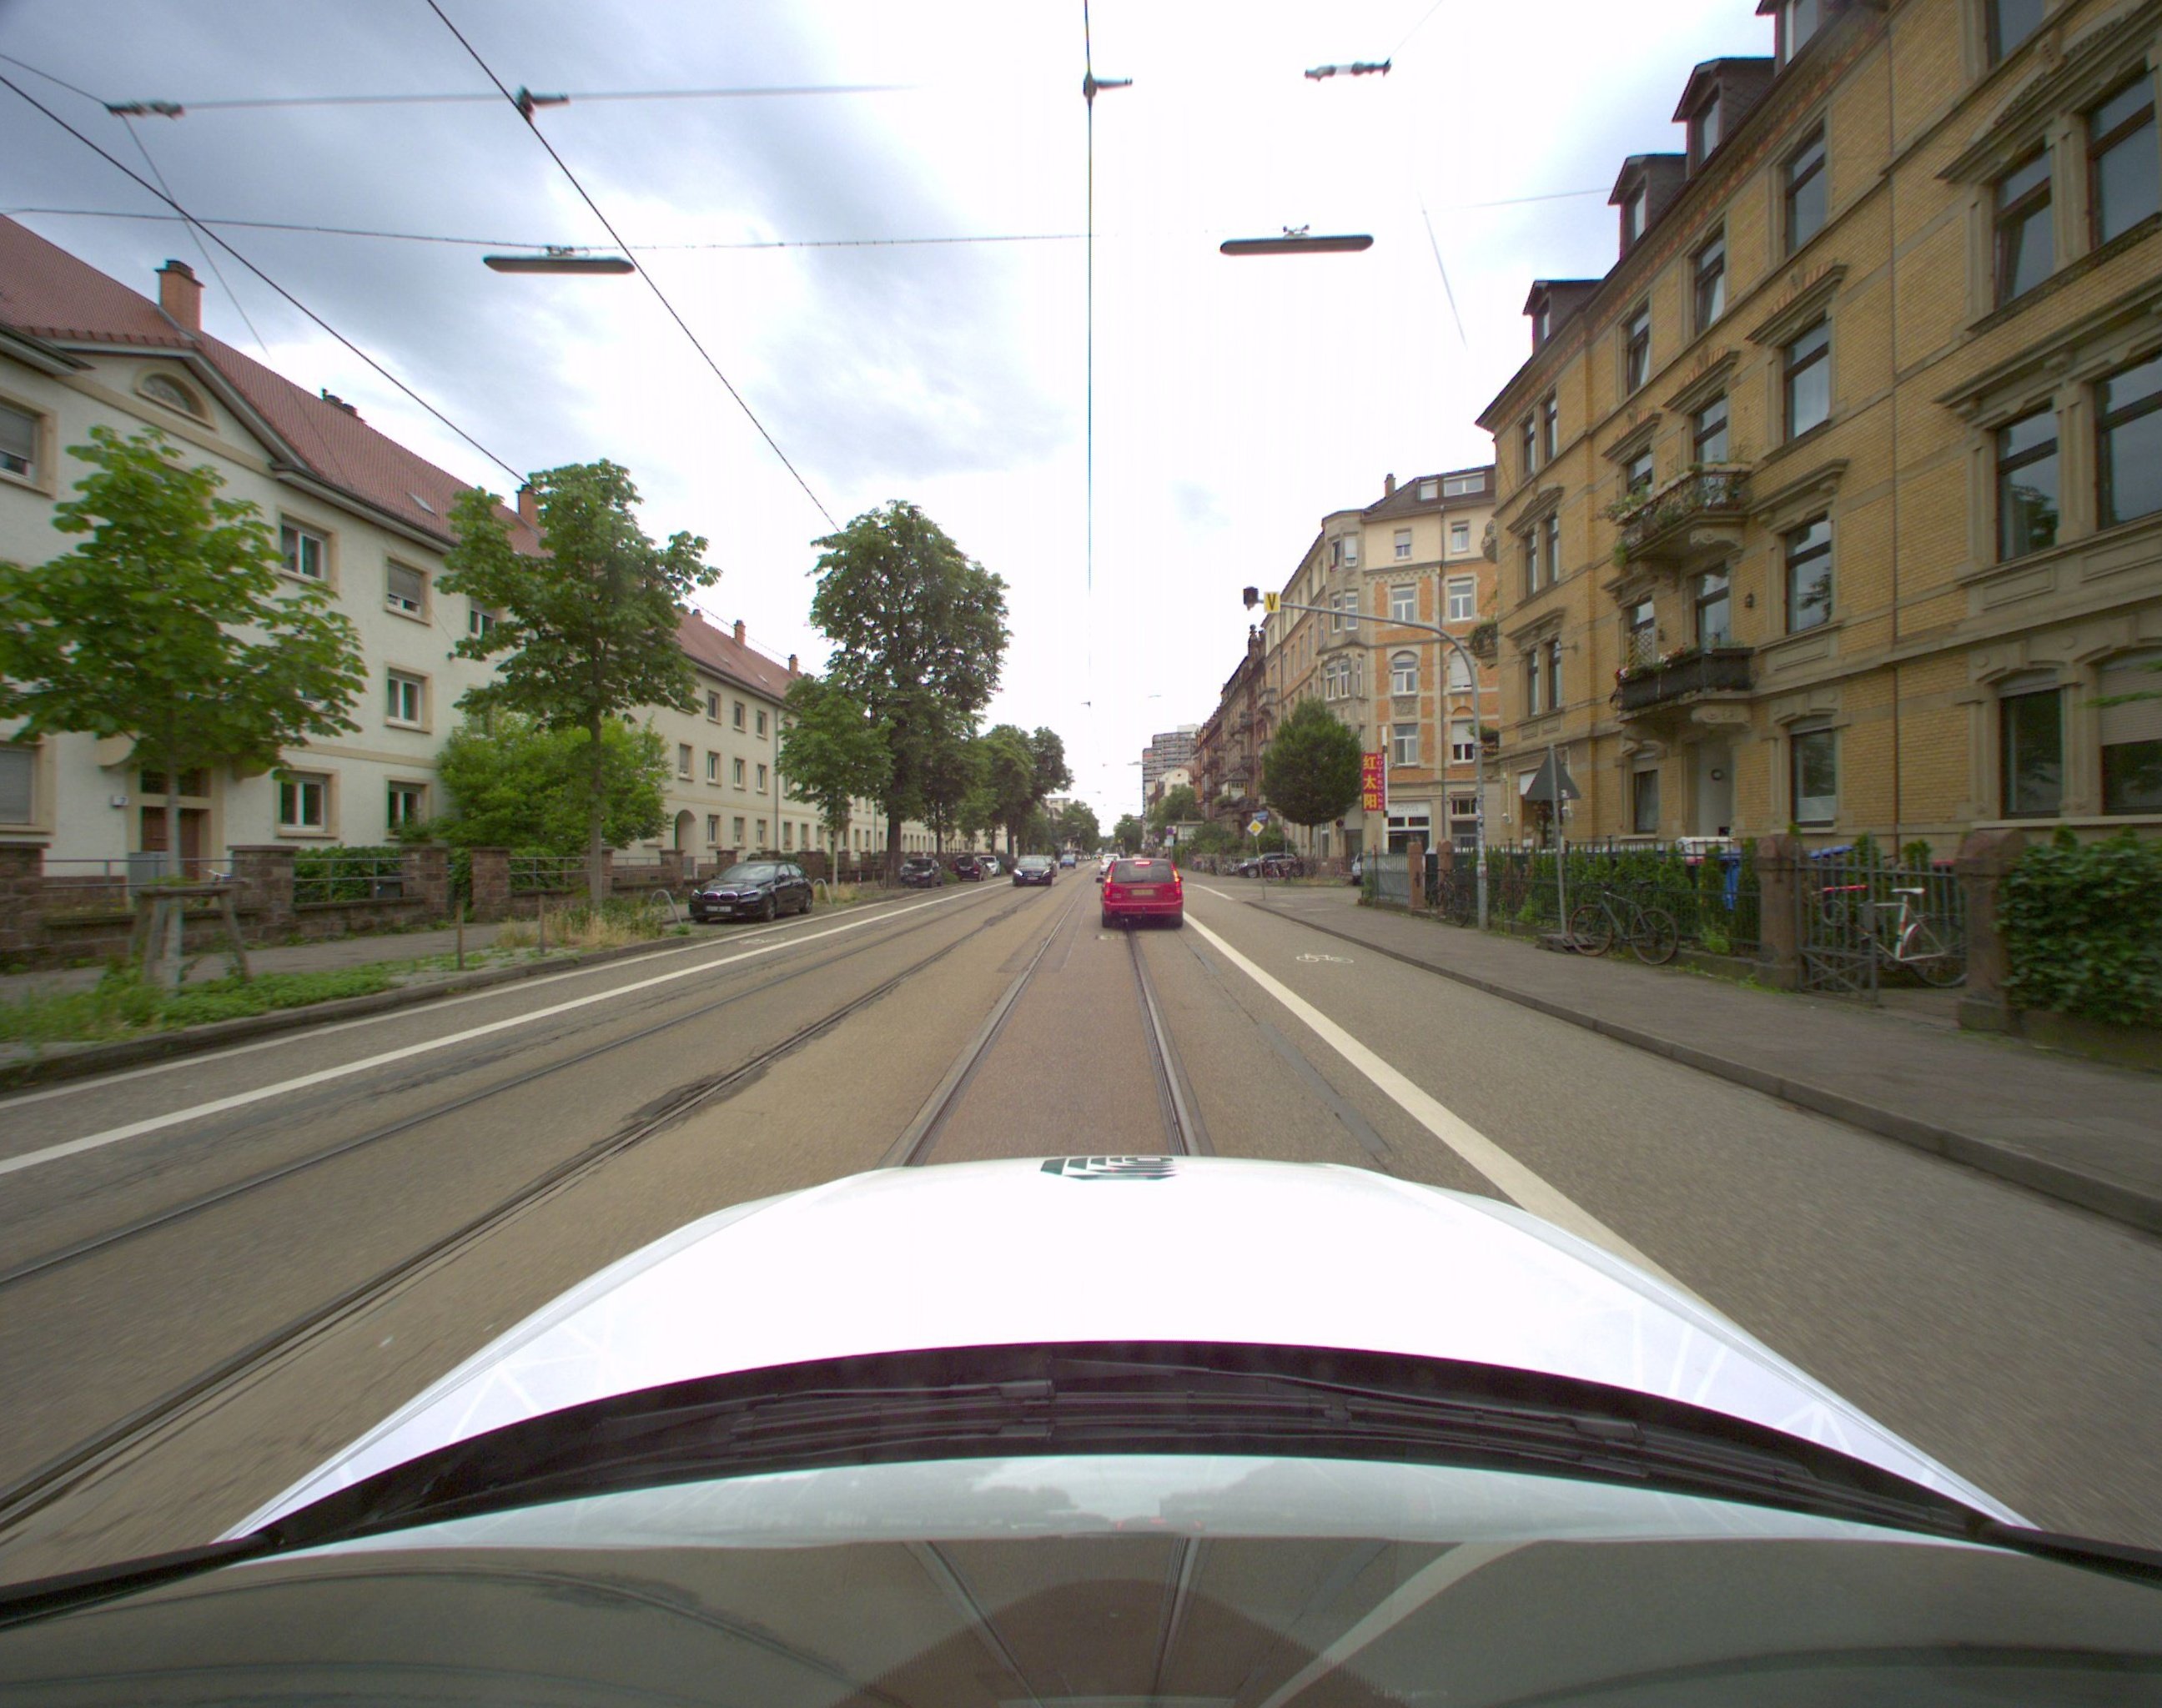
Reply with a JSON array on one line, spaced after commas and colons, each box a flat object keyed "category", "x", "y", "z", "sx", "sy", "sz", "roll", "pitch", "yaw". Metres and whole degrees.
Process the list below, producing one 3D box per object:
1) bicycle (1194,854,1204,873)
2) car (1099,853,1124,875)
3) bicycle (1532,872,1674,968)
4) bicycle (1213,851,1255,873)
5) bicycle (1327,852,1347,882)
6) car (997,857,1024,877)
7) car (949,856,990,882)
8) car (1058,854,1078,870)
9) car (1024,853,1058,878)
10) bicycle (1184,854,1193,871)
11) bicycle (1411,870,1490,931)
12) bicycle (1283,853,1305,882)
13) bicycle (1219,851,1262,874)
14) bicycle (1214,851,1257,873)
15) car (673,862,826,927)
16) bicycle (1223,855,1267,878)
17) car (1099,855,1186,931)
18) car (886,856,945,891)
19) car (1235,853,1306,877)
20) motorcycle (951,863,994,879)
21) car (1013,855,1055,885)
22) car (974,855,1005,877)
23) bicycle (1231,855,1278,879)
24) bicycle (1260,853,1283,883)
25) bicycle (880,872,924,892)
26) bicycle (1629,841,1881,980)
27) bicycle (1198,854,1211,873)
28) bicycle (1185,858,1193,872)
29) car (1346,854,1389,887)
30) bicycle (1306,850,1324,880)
[{"category": "bicycle", "x": 8.814, "y": 0.722, "z": 60.959, "sx": 0.549, "sy": 1.400, "sz": 1.735, "roll": 0, "pitch": 0, "yaw": 2}, {"category": "car", "x": 2.317, "y": 0.730, "z": 60.630, "sx": 1.711, "sy": 1.625, "sz": 3.945, "roll": 0, "pitch": 0, "yaw": 4}, {"category": "bicycle", "x": 6.914, "y": 0.821, "z": 10.939, "sx": 0.521, "sy": 1.099, "sz": 2.177, "roll": -2, "pitch": 0, "yaw": 2}, {"category": "bicycle", "x": 11.555, "y": 0.615, "z": 61.584, "sx": 2.966, "sy": 1.624, "sz": 1.049, "roll": 0, "pitch": 0, "yaw": -1}, {"category": "bicycle", "x": 13.248, "y": 0.639, "z": 42.063, "sx": 0.910, "sy": 1.507, "sz": 2.392, "roll": 0, "pitch": 0, "yaw": 19}, {"category": "car", "x": -5.732, "y": 1.042, "z": 66.288, "sx": 1.713, "sy": 1.486, "sz": 4.002, "roll": 0, "pitch": 0, "yaw": 2}, {"category": "car", "x": -6.860, "y": 0.885, "z": 50.461, "sx": 1.844, "sy": 1.563, "sz": 3.944, "roll": 0, "pitch": 0, "yaw": 2}, {"category": "car", "x": -1.419, "y": 0.856, "z": 88.409, "sx": 1.886, "sy": 1.611, "sz": 4.502, "roll": 0, "pitch": 0, "yaw": 2}, {"category": "car", "x": -2.654, "y": 0.765, "z": 54.822, "sx": 1.887, "sy": 1.611, "sz": 4.502, "roll": 0, "pitch": 0, "yaw": 2}, {"category": "bicycle", "x": 9.297, "y": 0.734, "z": 70.789, "sx": 0.553, "sy": 1.458, "sz": 2.987, "roll": 0, "pitch": 0, "yaw": 3}, {"category": "bicycle", "x": 7.083, "y": 0.859, "z": 15.721, "sx": 0.521, "sy": 1.030, "sz": 2.177, "roll": -3, "pitch": 0, "yaw": 2}, {"category": "bicycle", "x": 11.259, "y": 0.678, "z": 42.988, "sx": 0.910, "sy": 1.507, "sz": 2.392, "roll": 0, "pitch": 0, "yaw": 19}, {"category": "bicycle", "x": 11.601, "y": 0.616, "z": 59.205, "sx": 2.966, "sy": 1.624, "sz": 1.049, "roll": 0, "pitch": 0, "yaw": -1}, {"category": "bicycle", "x": 11.461, "y": 0.615, "z": 60.413, "sx": 2.966, "sy": 1.624, "sz": 1.049, "roll": 0, "pitch": 0, "yaw": -1}, {"category": "car", "x": -8.175, "y": 0.936, "z": 20.594, "sx": 1.882, "sy": 1.398, "sz": 4.420, "roll": 0, "pitch": 0, "yaw": 3}, {"category": "bicycle", "x": 11.613, "y": 0.869, "z": 57.762, "sx": 2.966, "sy": 1.624, "sz": 1.049, "roll": 0, "pitch": 0, "yaw": -1}, {"category": "car", "x": 1.249, "y": 0.760, "z": 17.674, "sx": 1.683, "sy": 1.441, "sz": 3.744, "roll": -1, "pitch": 0, "yaw": 2}, {"category": "car", "x": -7.536, "y": 0.852, "z": 37.440, "sx": 1.710, "sy": 1.482, "sz": 4.003, "roll": 0, "pitch": 0, "yaw": 3}, {"category": "car", "x": 11.028, "y": 0.623, "z": 47.477, "sx": 3.960, "sy": 1.361, "sz": 1.898, "roll": 0, "pitch": 0, "yaw": 12}, {"category": "motorcycle", "x": -7.517, "y": 1.178, "z": 56.645, "sx": 2.865, "sy": 1.077, "sz": 1.098, "roll": 0, "pitch": 0, "yaw": -5}, {"category": "car", "x": -2.261, "y": 0.733, "z": 40.068, "sx": 1.749, "sy": 1.380, "sz": 4.027, "roll": 0, "pitch": 0, "yaw": 1}, {"category": "car", "x": -6.913, "y": 0.911, "z": 61.738, "sx": 1.707, "sy": 1.580, "sz": 4.002, "roll": 1, "pitch": 0, "yaw": 2}, {"category": "bicycle", "x": 11.647, "y": 0.850, "z": 54.759, "sx": 2.966, "sy": 1.624, "sz": 1.049, "roll": 0, "pitch": 0, "yaw": -1}, {"category": "bicycle", "x": 9.768, "y": 0.679, "z": 41.674, "sx": 0.910, "sy": 1.507, "sz": 2.392, "roll": 0, "pitch": 0, "yaw": 19}, {"category": "bicycle", "x": -7.823, "y": 1.214, "z": 35.544, "sx": 1.741, "sy": 0.844, "sz": 0.684, "roll": 0, "pitch": 0, "yaw": 2}, {"category": "bicycle", "x": 8.773, "y": 0.654, "z": 10.873, "sx": 0.987, "sy": 1.603, "sz": 2.965, "roll": 0, "pitch": 0, "yaw": 2}, {"category": "bicycle", "x": 8.637, "y": 0.630, "z": 57.134, "sx": 0.705, "sy": 1.300, "sz": 1.905, "roll": 0, "pitch": 0, "yaw": 2}, {"category": "bicycle", "x": 8.903, "y": 0.890, "z": 67.050, "sx": 0.488, "sy": 1.099, "sz": 1.735, "roll": 0, "pitch": 0, "yaw": 2}, {"category": "car", "x": 14.044, "y": 0.769, "z": 39.841, "sx": 1.894, "sy": 1.484, "sz": 4.190, "roll": 0, "pitch": 0, "yaw": 20}, {"category": "bicycle", "x": 12.278, "y": 0.572, "z": 42.744, "sx": 0.783, "sy": 1.507, "sz": 2.392, "roll": 0, "pitch": 0, "yaw": 19}]
